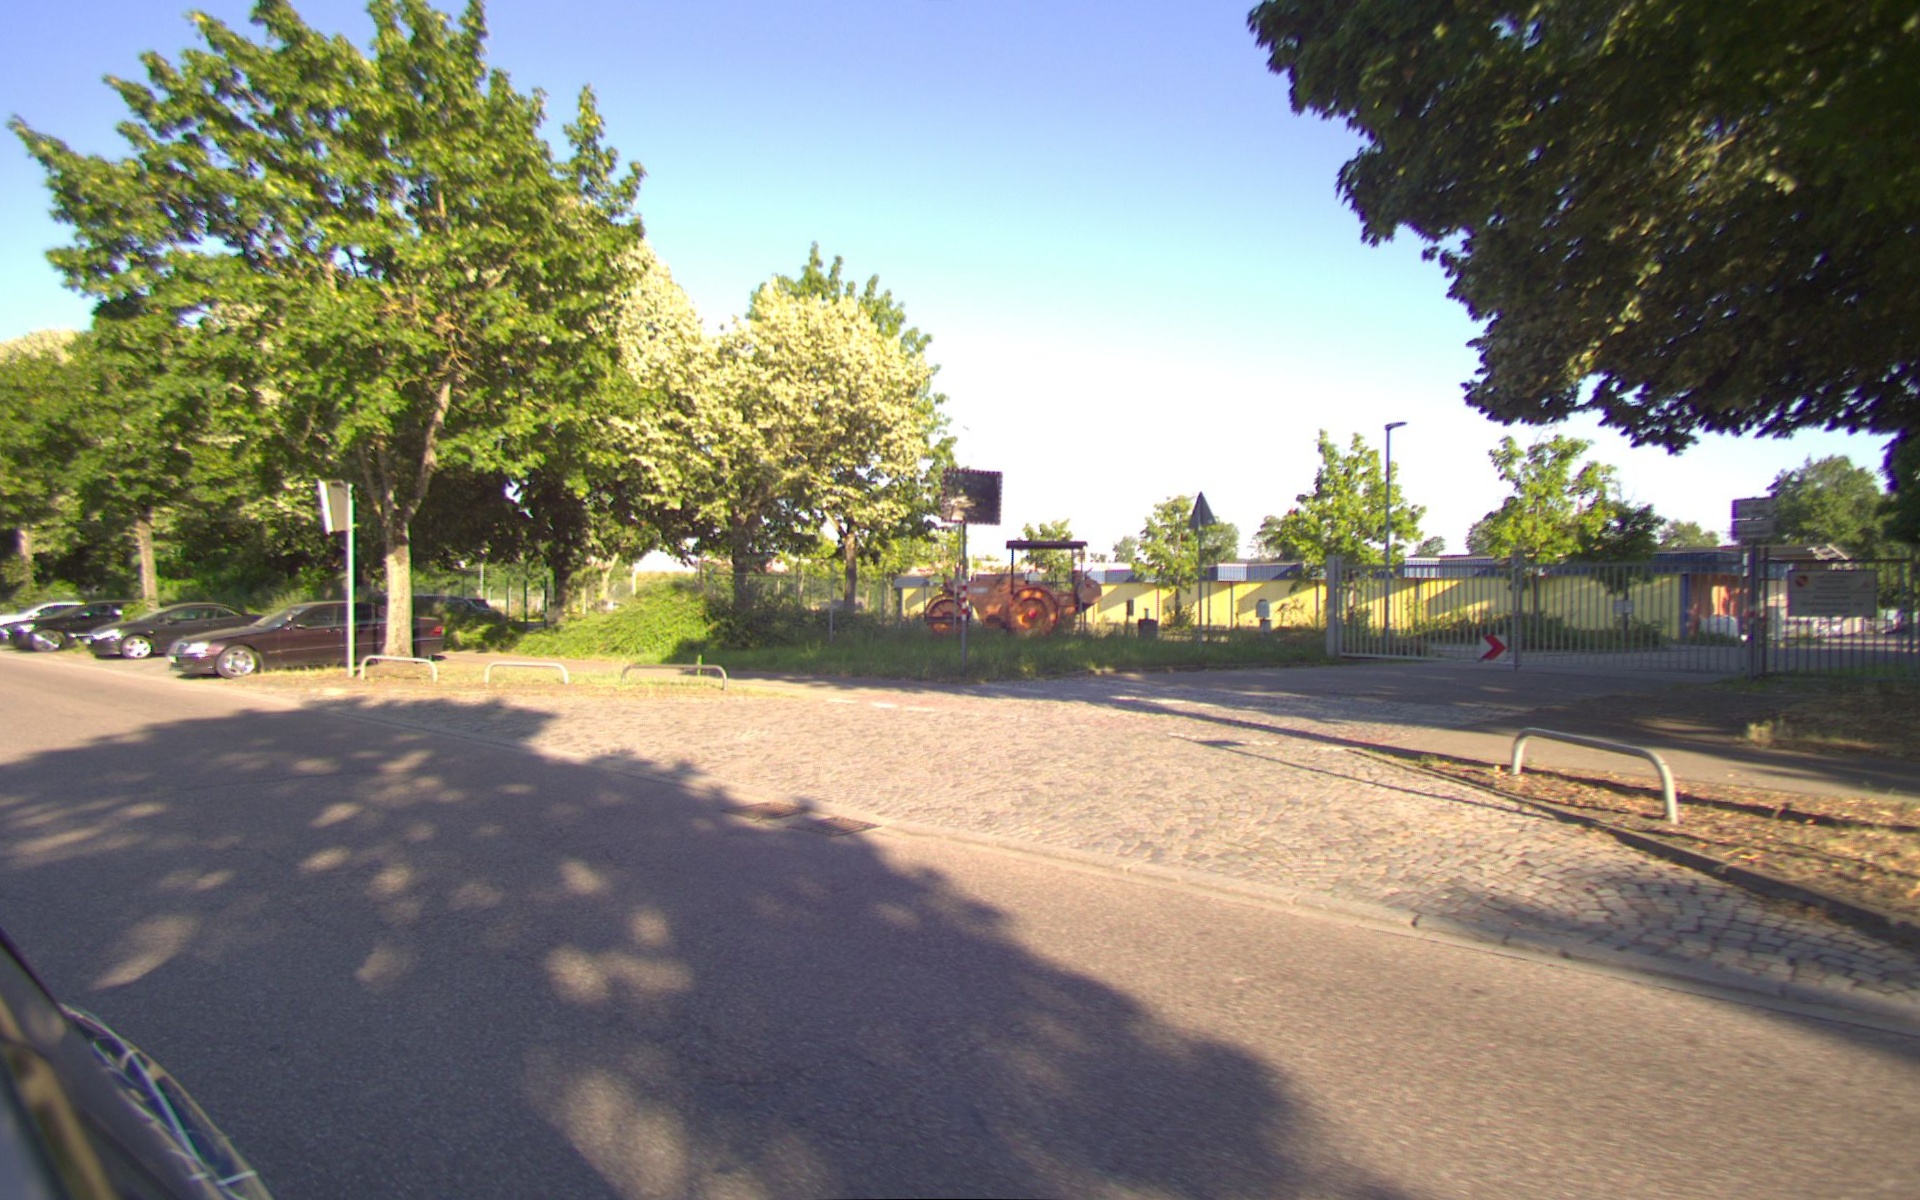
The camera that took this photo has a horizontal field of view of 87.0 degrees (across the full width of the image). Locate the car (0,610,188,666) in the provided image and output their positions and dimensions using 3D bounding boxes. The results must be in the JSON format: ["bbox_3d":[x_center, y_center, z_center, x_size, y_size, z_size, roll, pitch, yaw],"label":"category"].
[{"bbox_3d":[-27.364,1.134,31.892,1.997,1.542,4.439,-1,1,37],"label":"car"}]

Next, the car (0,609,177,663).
[{"bbox_3d":[-29.338,1.147,33.696,1.994,1.542,4.810,-1,1,33],"label":"car"}]

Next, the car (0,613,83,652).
[{"bbox_3d":[-38.045,1.319,40.136,1.912,1.432,4.610,-1,1,34],"label":"car"}]

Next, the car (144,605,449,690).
[{"bbox_3d":[-13.767,0.896,21.321,1.997,1.473,4.989,-1,1,37],"label":"car"}]

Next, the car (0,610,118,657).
[{"bbox_3d":[-33.501,1.201,36.710,1.997,1.542,4.246,-1,1,38],"label":"car"}]

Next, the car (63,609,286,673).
[{"bbox_3d":[-21.294,1.037,27.589,1.997,1.473,4.439,-1,1,37],"label":"car"}]

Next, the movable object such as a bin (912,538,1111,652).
[{"bbox_3d":[1.240,-0.106,25.150,4.739,2.685,2.163,0,-1,2],"label":"movable object such as a bin"}]
